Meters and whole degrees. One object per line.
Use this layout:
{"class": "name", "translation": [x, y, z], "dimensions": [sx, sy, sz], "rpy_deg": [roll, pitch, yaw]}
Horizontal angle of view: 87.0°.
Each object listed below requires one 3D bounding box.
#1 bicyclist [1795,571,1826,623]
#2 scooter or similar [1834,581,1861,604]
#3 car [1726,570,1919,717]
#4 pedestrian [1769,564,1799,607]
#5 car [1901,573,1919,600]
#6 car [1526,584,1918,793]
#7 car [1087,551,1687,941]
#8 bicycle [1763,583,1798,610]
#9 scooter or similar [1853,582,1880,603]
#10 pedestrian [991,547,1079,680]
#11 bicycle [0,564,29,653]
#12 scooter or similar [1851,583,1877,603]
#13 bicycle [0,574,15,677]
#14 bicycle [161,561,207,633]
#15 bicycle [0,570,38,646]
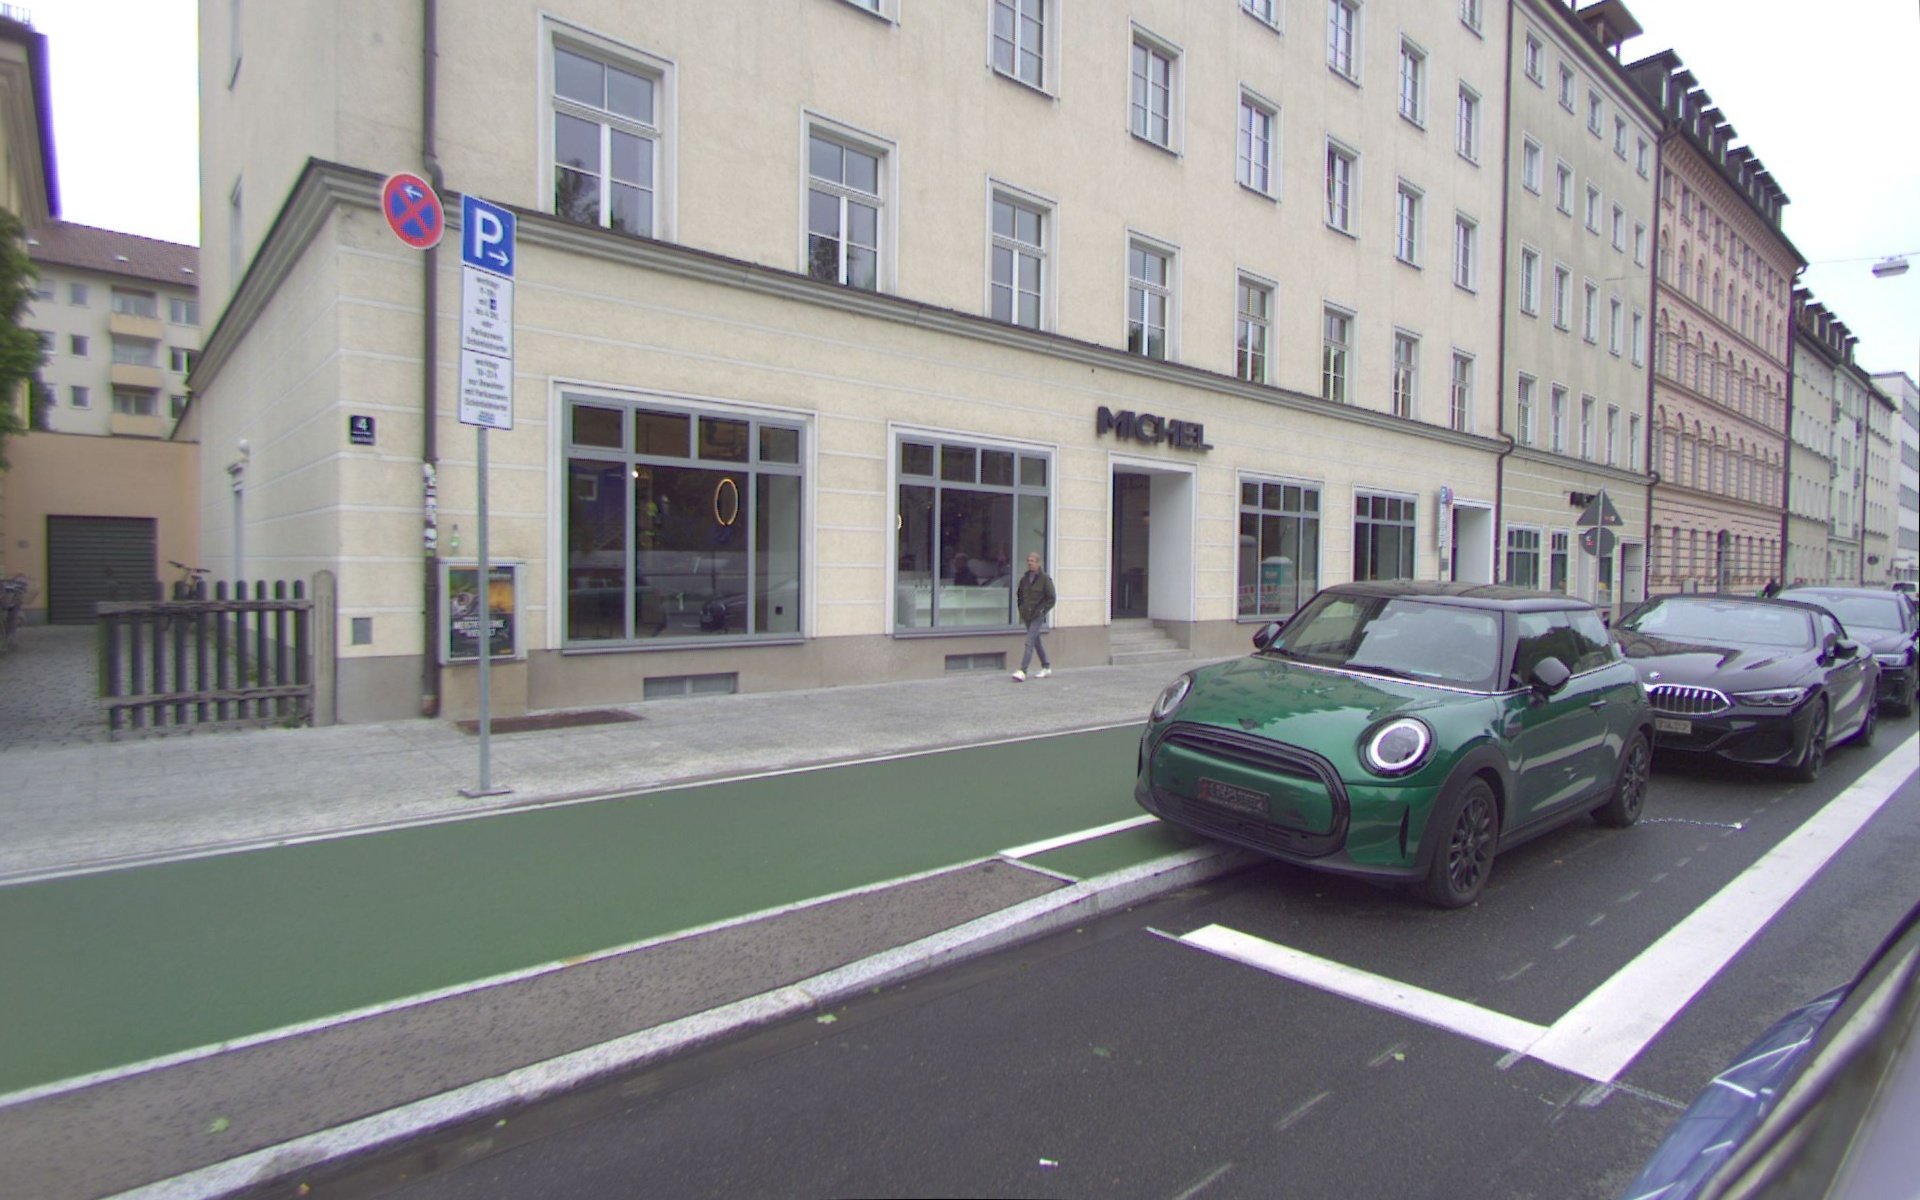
{"class": "bicyclist", "translation": [24.867, -0.094, 29.589], "dimensions": [0.630, 1.485, 0.643], "rpy_deg": [2, 2, 43]}
{"class": "scooter or similar", "translation": [49.985, -0.419, 56.980], "dimensions": [1.055, 1.260, 0.554], "rpy_deg": [1, 1, -6]}
{"class": "car", "translation": [11.658, 0.440, 13.194], "dimensions": [4.387, 1.497, 1.812], "rpy_deg": [-1, 6, -43]}
{"class": "pedestrian", "translation": [34.505, -0.612, 42.393], "dimensions": [0.819, 1.767, 0.795], "rpy_deg": [0, 2, -40]}
{"class": "car", "translation": [67.285, -0.923, 70.750], "dimensions": [3.931, 1.855, 1.764], "rpy_deg": [-1, 2, -42]}
{"class": "car", "translation": [7.012, 0.574, 9.110], "dimensions": [4.636, 1.425, 1.830], "rpy_deg": [-1, 1, -40]}
{"class": "car", "translation": [2.636, 0.548, 5.850], "dimensions": [3.761, 1.540, 1.678], "rpy_deg": [-1, 1, -40]}
{"class": "bicycle", "translation": [36.382, -0.167, 44.874], "dimensions": [1.690, 1.191, 0.558], "rpy_deg": [0, 2, -26]}
{"class": "scooter or similar", "translation": [53.703, -0.424, 59.970], "dimensions": [1.063, 1.207, 0.451], "rpy_deg": [1, 1, 20]}
{"class": "pedestrian", "translation": [1.006, 0.153, 13.609], "dimensions": [0.846, 1.709, 0.780], "rpy_deg": [0, 2, -40]}
{"class": "bicycle", "translation": [-12.856, 0.081, 13.556], "dimensions": [0.512, 1.124, 1.830], "rpy_deg": [0, 2, -41]}
{"class": "scooter or similar", "translation": [54.513, -0.433, 61.044], "dimensions": [1.059, 1.207, 0.436], "rpy_deg": [1, 1, 10]}
{"class": "bicycle", "translation": [-11.487, 0.271, 11.888], "dimensions": [0.512, 1.130, 1.830], "rpy_deg": [0, 2, -41]}
{"class": "bicycle", "translation": [-13.473, -0.082, 17.551], "dimensions": [0.512, 1.186, 1.830], "rpy_deg": [0, 2, -41]}
{"class": "bicycle", "translation": [-14.078, 0.092, 15.041], "dimensions": [0.512, 1.048, 1.830], "rpy_deg": [0, 2, -41]}
